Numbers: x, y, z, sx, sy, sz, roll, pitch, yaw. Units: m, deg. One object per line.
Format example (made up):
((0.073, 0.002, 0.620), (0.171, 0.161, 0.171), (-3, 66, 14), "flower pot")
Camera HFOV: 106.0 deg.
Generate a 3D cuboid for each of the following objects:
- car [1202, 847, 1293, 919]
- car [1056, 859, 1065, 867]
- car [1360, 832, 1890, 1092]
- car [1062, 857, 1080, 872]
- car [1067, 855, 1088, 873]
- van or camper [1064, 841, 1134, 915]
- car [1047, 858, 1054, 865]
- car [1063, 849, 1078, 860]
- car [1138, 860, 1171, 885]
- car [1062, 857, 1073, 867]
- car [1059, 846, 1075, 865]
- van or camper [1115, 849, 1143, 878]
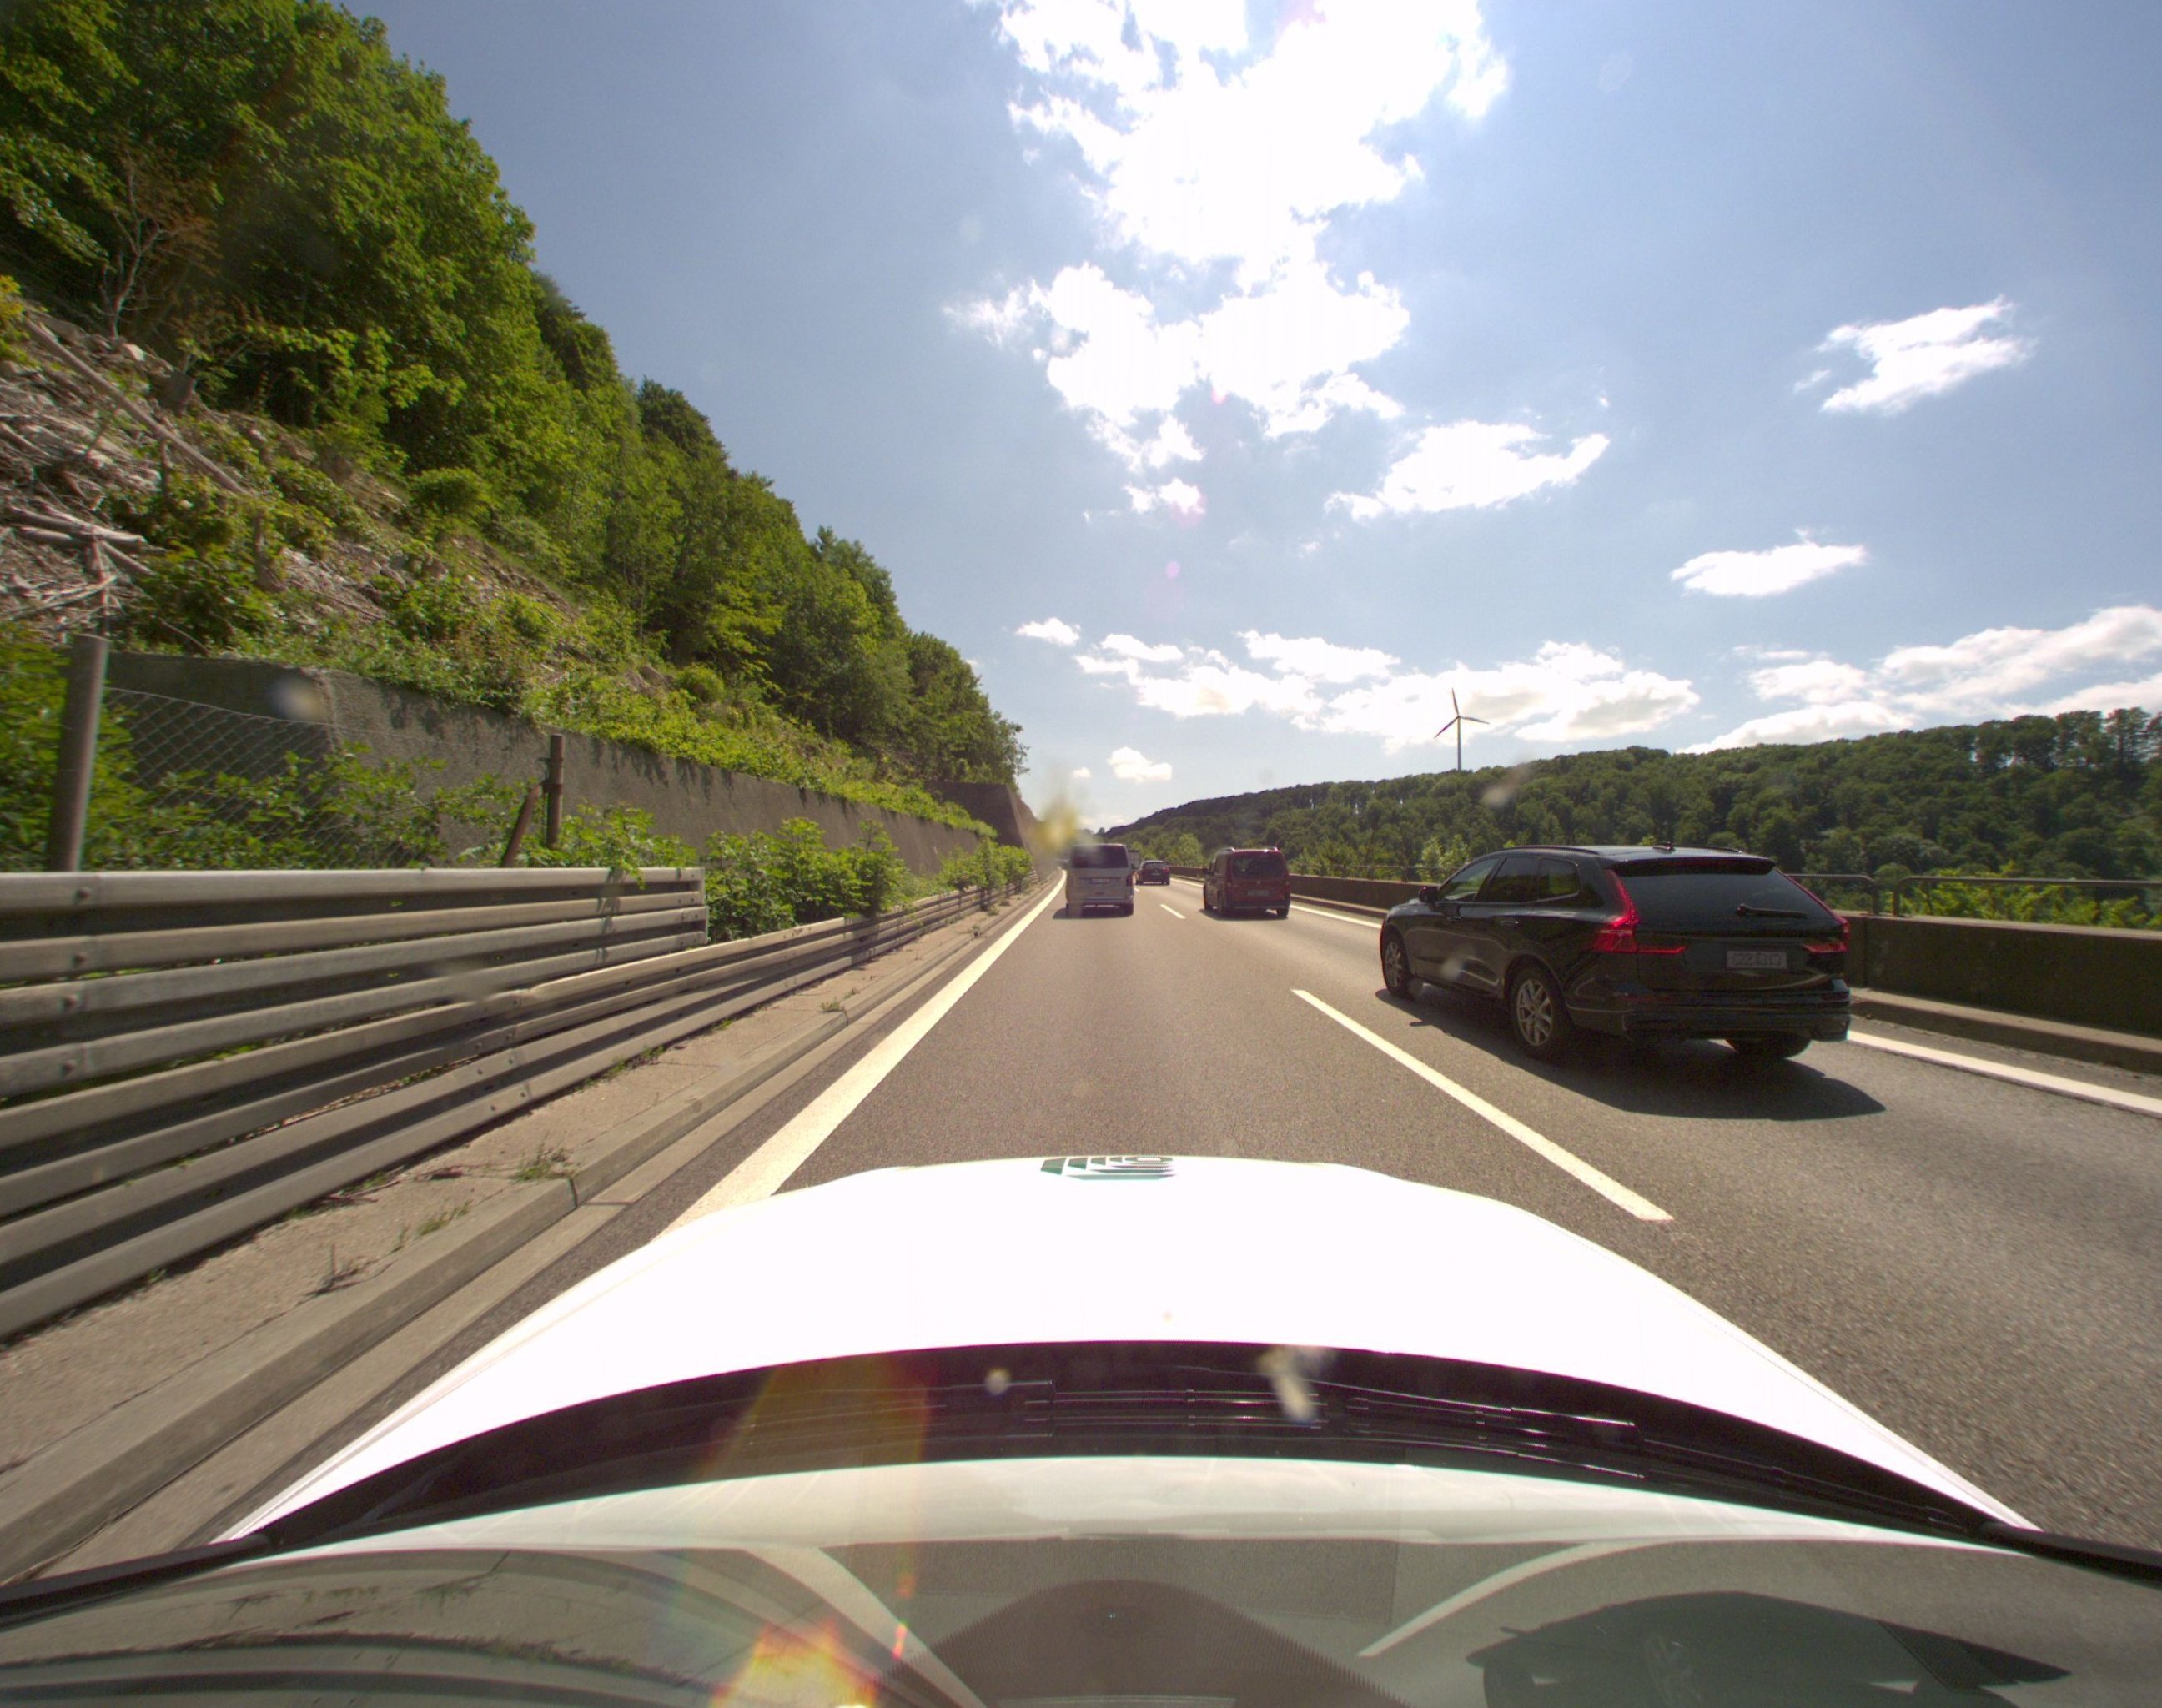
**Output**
((4.561, 0.776, 22.920), (1.825, 1.784, 4.679), (-1, -1, 3), "car")
((-4.664, 1.980, 183.167), (1.840, 1.750, 3.999), (-1, 0, 0), "car")
((4.284, 0.688, 7.543), (1.828, 1.633, 4.662), (-1, 0, 1), "car")
((-1.266, 1.335, 102.892), (1.985, 1.915, 4.004), (0, 0, 3), "car")
((-0.417, 1.075, 87.184), (1.989, 1.818, 3.995), (0, 0, -3), "car")
((0.530, 0.676, 23.734), (1.869, 1.949, 4.294), (0, -1, 1), "van or camper")
((-7.737, 1.968, 205.381), (1.841, 1.750, 3.996), (-1, 0, -3), "car")
((-1.571, 0.126, 125.804), (2.136, 1.607, 5.077), (-1, 0, 0), "car")
((4.334, 1.072, 48.640), (1.762, 1.376, 3.594), (0, 0, 2), "car")
((-2.764, 1.667, 165.087), (1.986, 2.014, 4.000), (-2, -1, 1), "car")
((-3.708, 0.496, 212.107), (4.033, 4.871, 10.100), (0, 0, -2), "car")
((4.523, 0.901, 77.178), (2.257, 2.551, 4.733), (-2, -1, -1), "van or camper")
